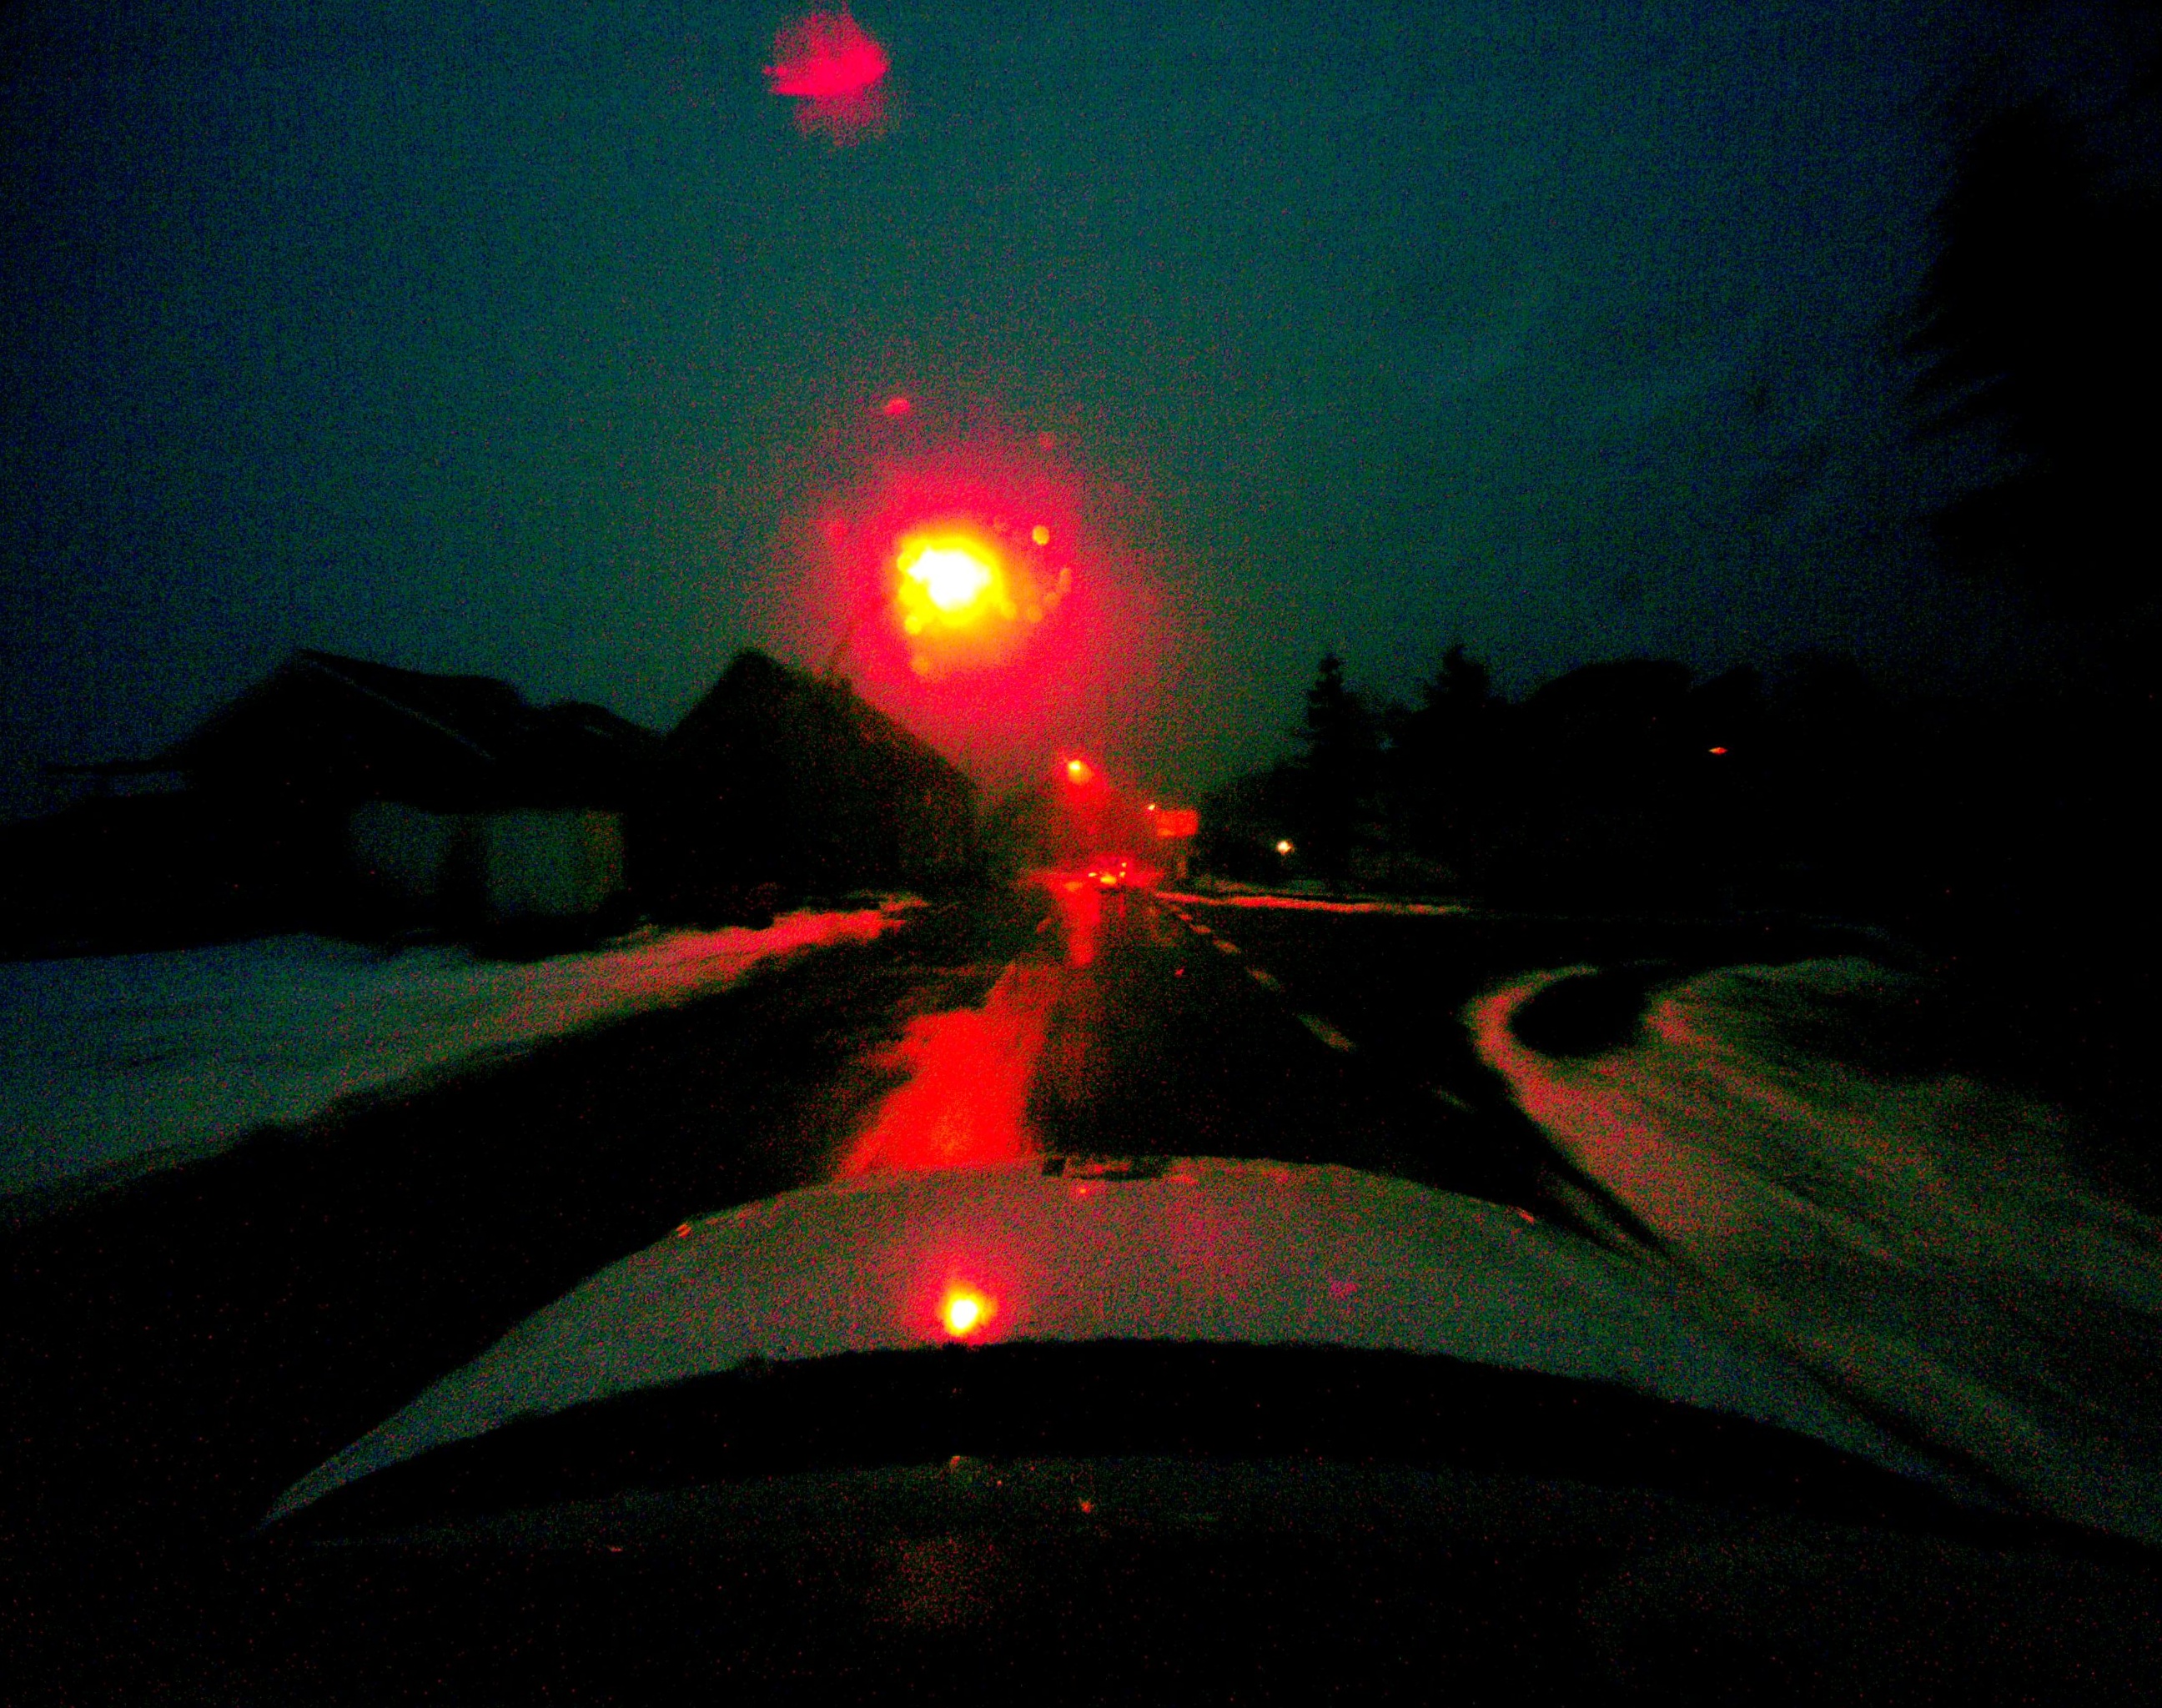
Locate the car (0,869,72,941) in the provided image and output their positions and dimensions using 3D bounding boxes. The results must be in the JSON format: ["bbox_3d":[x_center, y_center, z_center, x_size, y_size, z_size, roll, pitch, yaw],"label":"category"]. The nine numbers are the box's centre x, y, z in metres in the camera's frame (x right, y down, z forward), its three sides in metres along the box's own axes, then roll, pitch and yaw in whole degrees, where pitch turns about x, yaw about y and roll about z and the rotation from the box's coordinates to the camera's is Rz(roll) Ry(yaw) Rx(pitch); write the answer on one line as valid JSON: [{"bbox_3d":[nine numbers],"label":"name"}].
[{"bbox_3d":[-26.610,1.309,18.538,1.982,1.661,4.010,-4,1,8],"label":"car"}]

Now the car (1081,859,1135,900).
[{"bbox_3d":[1.242,1.074,36.038,1.983,1.508,4.008,-4,1,6],"label":"car"}]

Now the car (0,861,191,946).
[{"bbox_3d":[-23.287,1.101,18.245,1.983,1.661,4.009,-4,1,7],"label":"car"}]

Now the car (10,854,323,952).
[{"bbox_3d":[-19.745,0.975,17.894,1.980,1.716,4.014,-3,1,12],"label":"car"}]

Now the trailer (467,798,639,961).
[{"bbox_3d":[-9.671,0.400,15.231,1.694,2.605,3.424,-4,1,-18],"label":"trailer"}]

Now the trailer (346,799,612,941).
[{"bbox_3d":[-12.197,0.252,16.904,1.981,2.489,4.022,-3,1,10],"label":"trailer"}]
